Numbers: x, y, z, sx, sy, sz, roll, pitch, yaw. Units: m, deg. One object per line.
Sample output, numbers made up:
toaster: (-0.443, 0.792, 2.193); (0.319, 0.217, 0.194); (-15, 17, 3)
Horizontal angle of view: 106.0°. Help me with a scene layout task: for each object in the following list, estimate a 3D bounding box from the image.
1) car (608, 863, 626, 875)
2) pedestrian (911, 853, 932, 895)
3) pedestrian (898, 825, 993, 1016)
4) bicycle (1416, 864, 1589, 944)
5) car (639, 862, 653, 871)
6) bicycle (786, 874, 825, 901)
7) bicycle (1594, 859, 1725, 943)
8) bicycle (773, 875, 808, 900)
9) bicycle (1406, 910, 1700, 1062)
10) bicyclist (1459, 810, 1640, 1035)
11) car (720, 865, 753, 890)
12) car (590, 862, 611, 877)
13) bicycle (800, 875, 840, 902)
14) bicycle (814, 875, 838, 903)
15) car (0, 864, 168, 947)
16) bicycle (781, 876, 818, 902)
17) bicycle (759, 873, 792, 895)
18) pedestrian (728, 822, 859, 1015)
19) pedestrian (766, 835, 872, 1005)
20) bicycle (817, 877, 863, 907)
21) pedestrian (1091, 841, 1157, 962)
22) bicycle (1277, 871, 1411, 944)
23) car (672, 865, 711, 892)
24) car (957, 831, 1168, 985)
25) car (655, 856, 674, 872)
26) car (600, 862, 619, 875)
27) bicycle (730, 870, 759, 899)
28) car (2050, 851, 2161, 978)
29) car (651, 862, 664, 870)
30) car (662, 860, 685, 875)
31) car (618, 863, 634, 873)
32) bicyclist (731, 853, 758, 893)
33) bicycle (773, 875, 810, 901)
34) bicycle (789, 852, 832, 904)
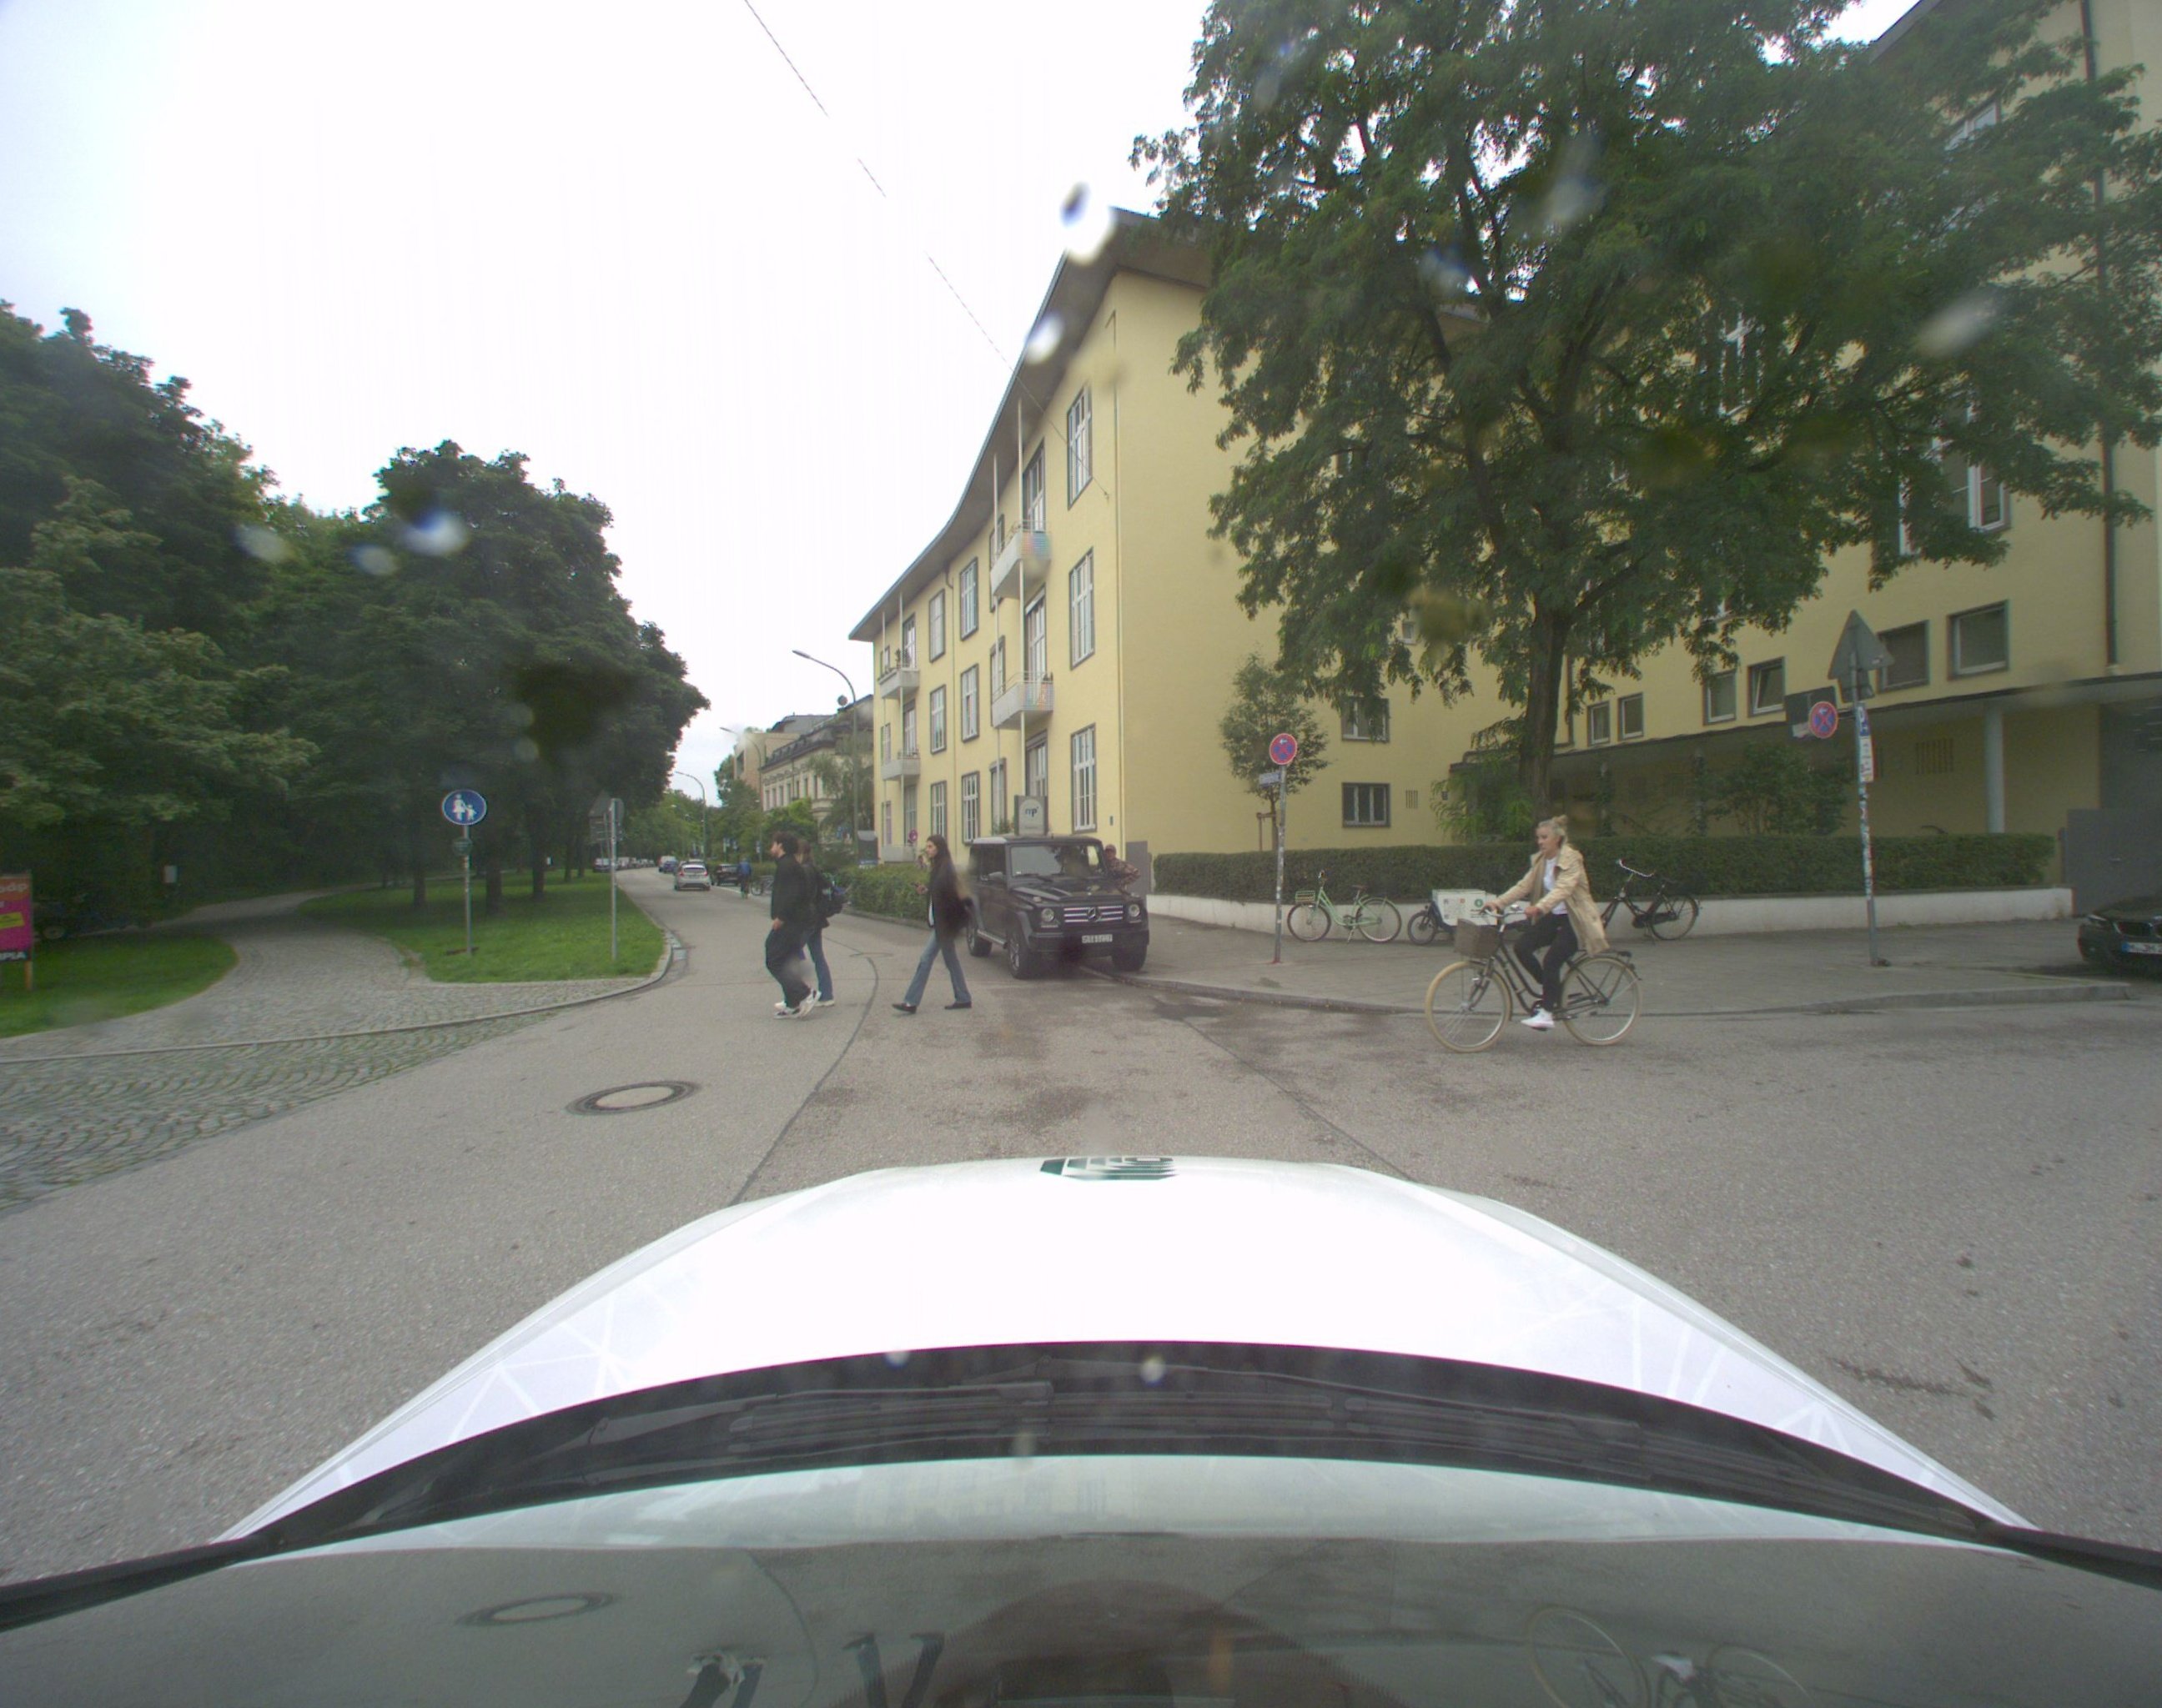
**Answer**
car: (-67.536, 2.133, 118.651); (2.004, 1.600, 4.428); (-1, 0, -26)
pedestrian: (-6.599, 0.822, 33.676); (0.634, 1.684, 0.692); (-2, 0, -24)
pedestrian: (-1.429, 0.659, 8.522); (0.851, 1.857, 0.763); (-2, -1, -15)
bicycle: (6.182, 0.727, 12.044); (2.154, 1.115, 0.642); (-1, 0, 10)
car: (-84.413, 2.388, 158.088); (2.001, 1.600, 4.434); (-1, 0, -22)
bicycle: (-11.364, 1.389, 33.638); (0.404, 1.014, 1.548); (-2, 0, 34)
bicycle: (8.390, 0.666, 11.824); (1.681, 1.130, 0.459); (-1, 0, -8)
bicycle: (-12.834, 1.454, 35.984); (0.404, 1.014, 1.547); (-2, 0, 30)
bicycle: (3.689, 1.007, 6.456); (1.956, 1.024, 0.684); (-1, 0, -3)
bicyclist: (3.676, 0.507, 6.452); (1.001, 1.656, 0.695); (-1, 0, -3)
car: (-23.007, 1.517, 54.293); (1.657, 1.558, 3.526); (-1, 0, -29)
car: (-53.411, 1.712, 90.515); (2.006, 1.600, 4.423); (-1, 0, -31)
bicycle: (-10.530, 1.388, 32.887); (0.362, 1.014, 1.547); (-2, 0, 39)
bicycle: (-9.985, 1.352, 31.879); (0.364, 1.014, 1.538); (-2, 0, 2)
car: (-27.679, 1.339, 21.745); (1.766, 2.013, 4.023); (-2, 0, 25)
bicycle: (-11.736, 1.446, 34.027); (0.404, 1.014, 1.547); (-2, 0, 30)
bicycle: (-15.571, 1.536, 41.568); (0.404, 1.014, 1.547); (-2, 0, 43)
pedestrian: (-2.815, 0.614, 8.033); (0.984, 1.809, 0.661); (-2, -1, 6)
pedestrian: (-2.802, 0.685, 8.777); (0.822, 1.746, 0.742); (-1, 0, 5)
bicycle: (-8.951, 1.389, 30.254); (1.543, 1.014, 0.363); (-2, 0, -33)
pedestrian: (0.637, 0.697, 12.479); (0.847, 1.757, 0.952); (-2, 0, -5)
bicycle: (4.184, 0.861, 13.056); (1.924, 1.085, 0.532); (-4, -2, 36)
car: (-22.130, 1.339, 46.193); (1.758, 1.406, 3.692); (-1, 0, -29)
car: (-0.526, 0.678, 12.588); (1.880, 1.887, 4.587); (-1, 0, -20)
car: (-51.958, 1.232, 101.598); (2.078, 1.966, 4.932); (-1, 0, -28)
car: (-60.916, 1.879, 105.145); (2.006, 1.600, 4.423); (-1, 0, -31)
bicycle: (-15.550, 1.386, 37.636); (0.927, 1.252, 2.299); (-1, 0, -30)
car: (13.747, 0.604, 9.025); (4.313, 1.367, 1.659); (-1, -3, -5)
car: (-89.609, 2.610, 172.181); (2.002, 1.600, 4.434); (-1, 0, -22)
car: (-46.910, 1.548, 93.791); (2.007, 1.600, 4.211); (-1, 0, -32)
car: (-73.359, 2.260, 131.436); (2.004, 1.600, 4.428); (-1, 0, -26)
bicyclist: (-15.556, 0.861, 37.630); (0.920, 1.764, 1.203); (-1, 0, -32)
bicycle: (-12.162, 1.434, 34.285); (0.404, 1.014, 1.547); (-2, 0, 30)
bicycle: (-10.982, 0.955, 33.114); (0.451, 2.013, 1.688); (-2, 0, 34)
